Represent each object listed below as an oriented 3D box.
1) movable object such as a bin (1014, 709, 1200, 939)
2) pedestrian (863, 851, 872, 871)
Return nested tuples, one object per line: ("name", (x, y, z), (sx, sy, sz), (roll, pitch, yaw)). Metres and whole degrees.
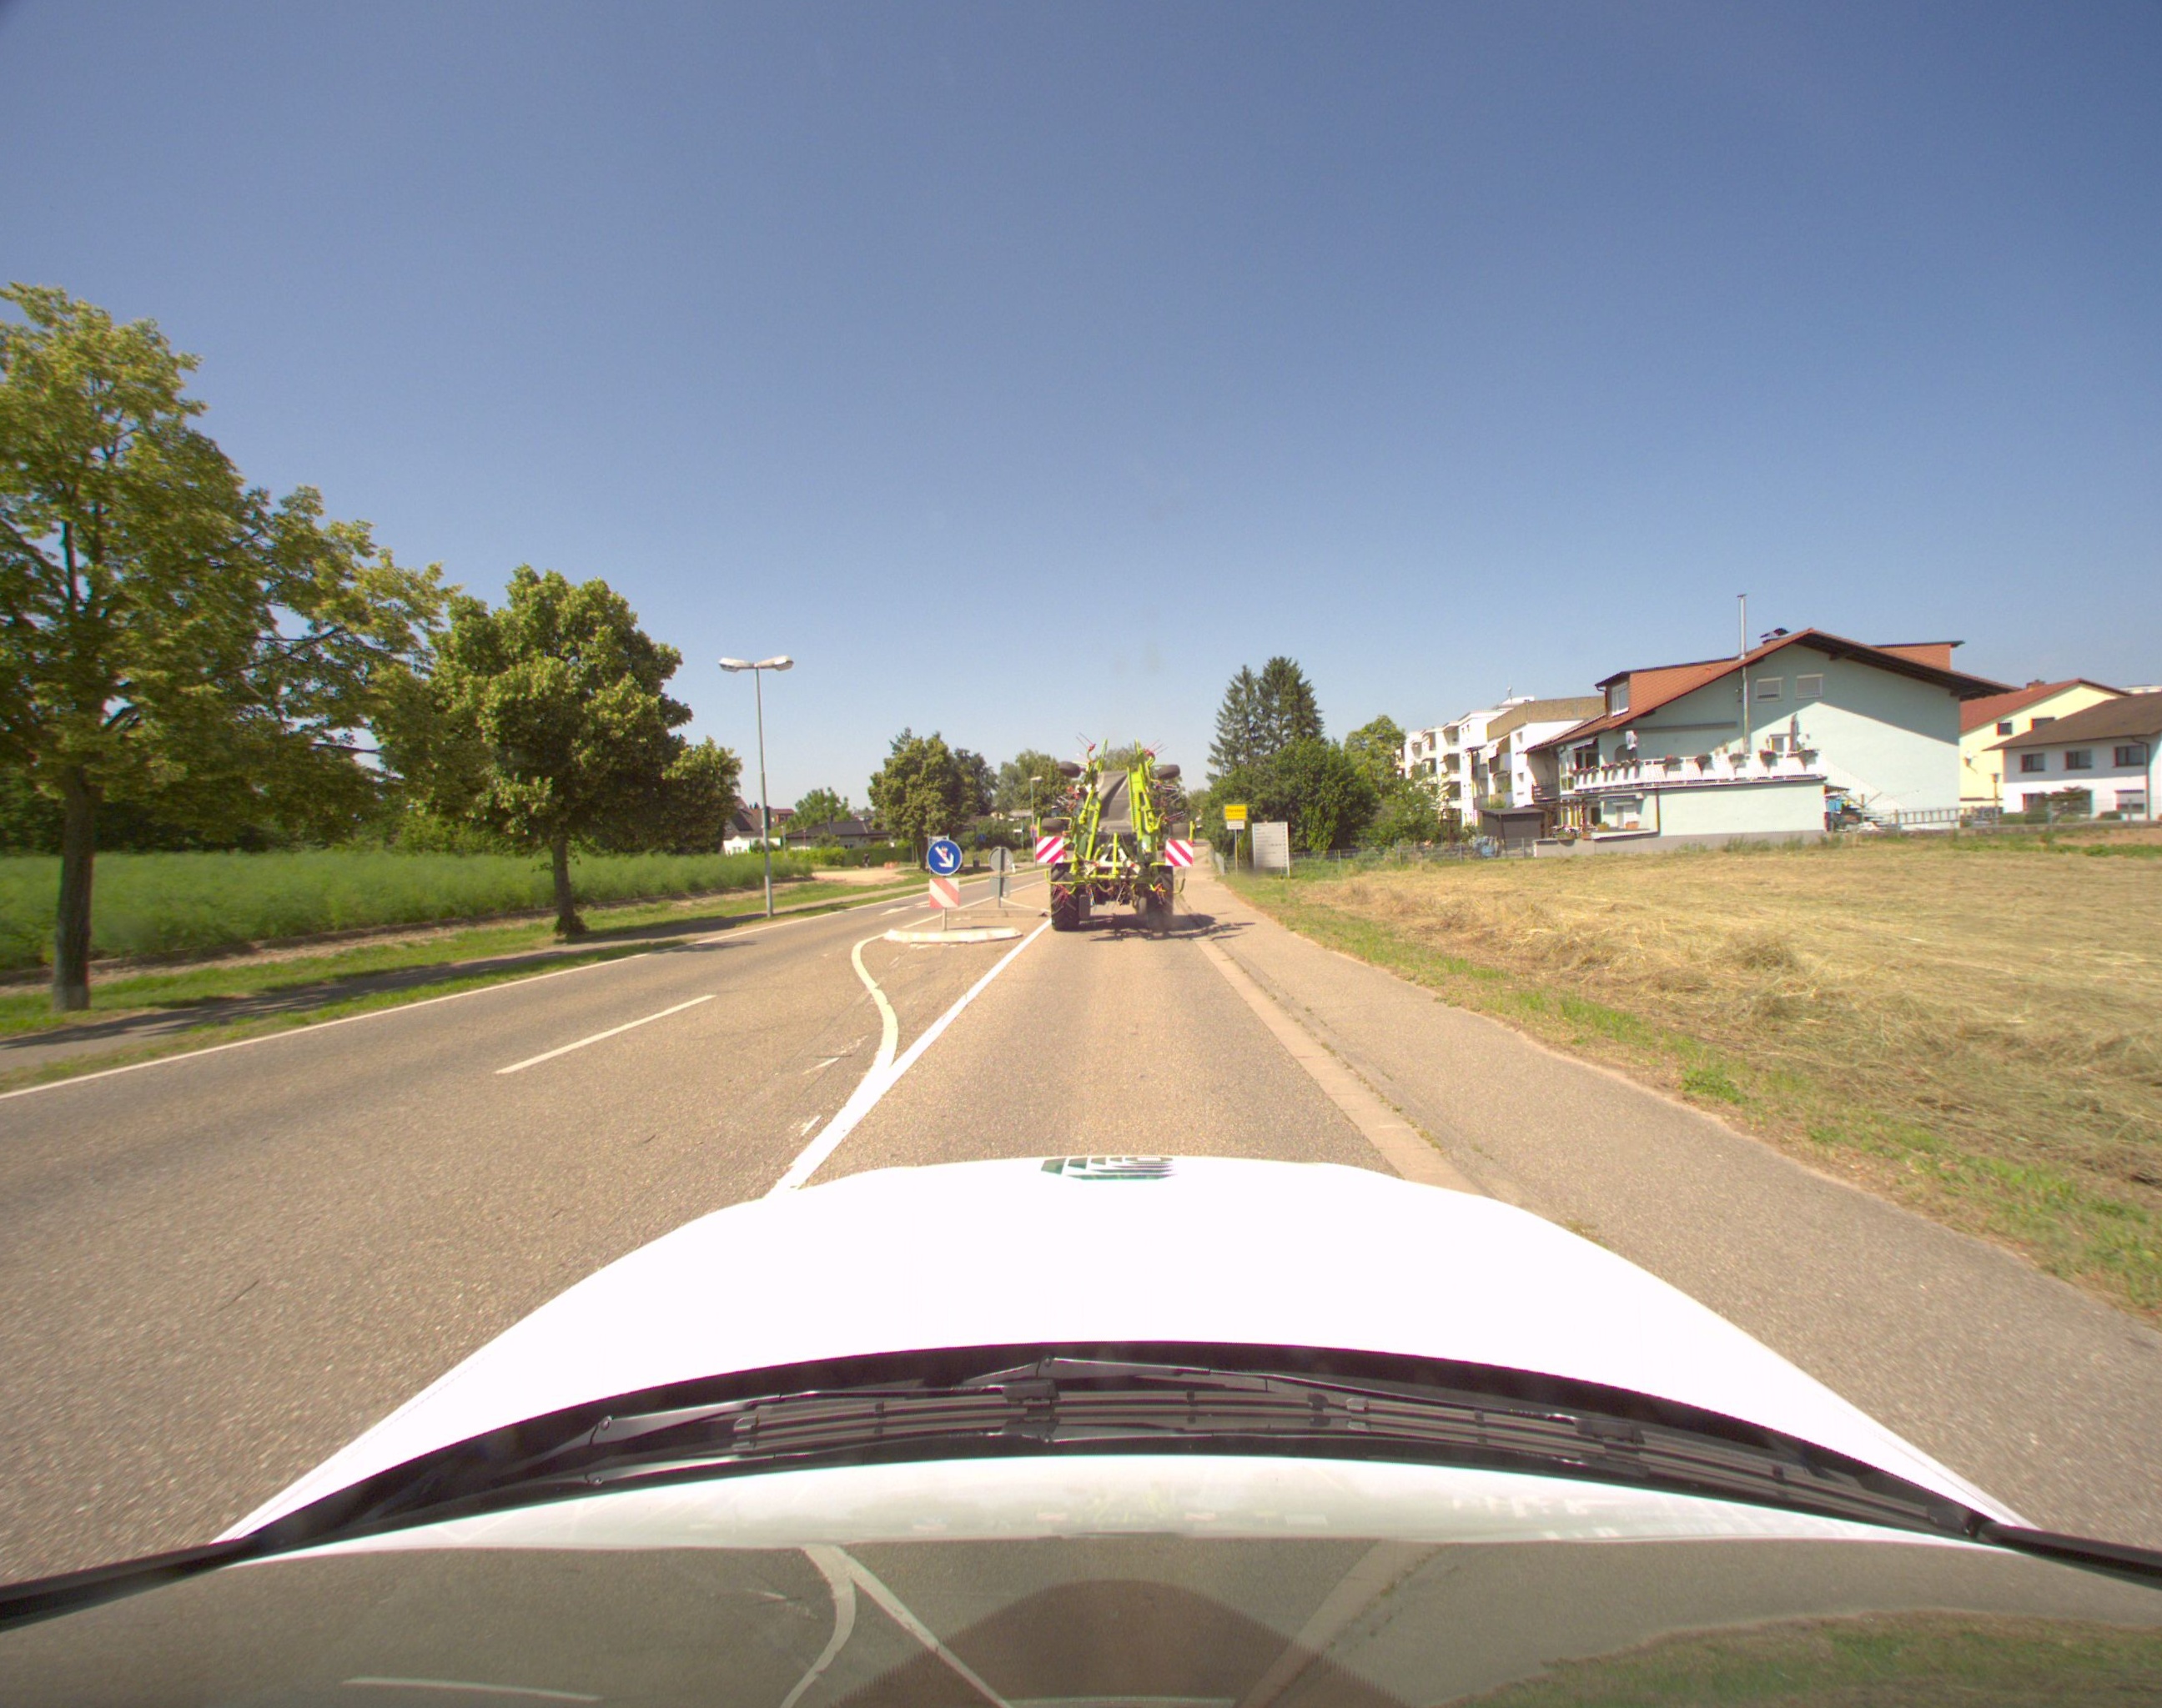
("movable object such as a bin", (0.609, -0.489, 17.687), (2.842, 3.541, 9.706), (-1, 0, 2))
("pedestrian", (-18.462, 0.598, 70.393), (0.673, 1.716, 0.549), (-2, 0, -8))
